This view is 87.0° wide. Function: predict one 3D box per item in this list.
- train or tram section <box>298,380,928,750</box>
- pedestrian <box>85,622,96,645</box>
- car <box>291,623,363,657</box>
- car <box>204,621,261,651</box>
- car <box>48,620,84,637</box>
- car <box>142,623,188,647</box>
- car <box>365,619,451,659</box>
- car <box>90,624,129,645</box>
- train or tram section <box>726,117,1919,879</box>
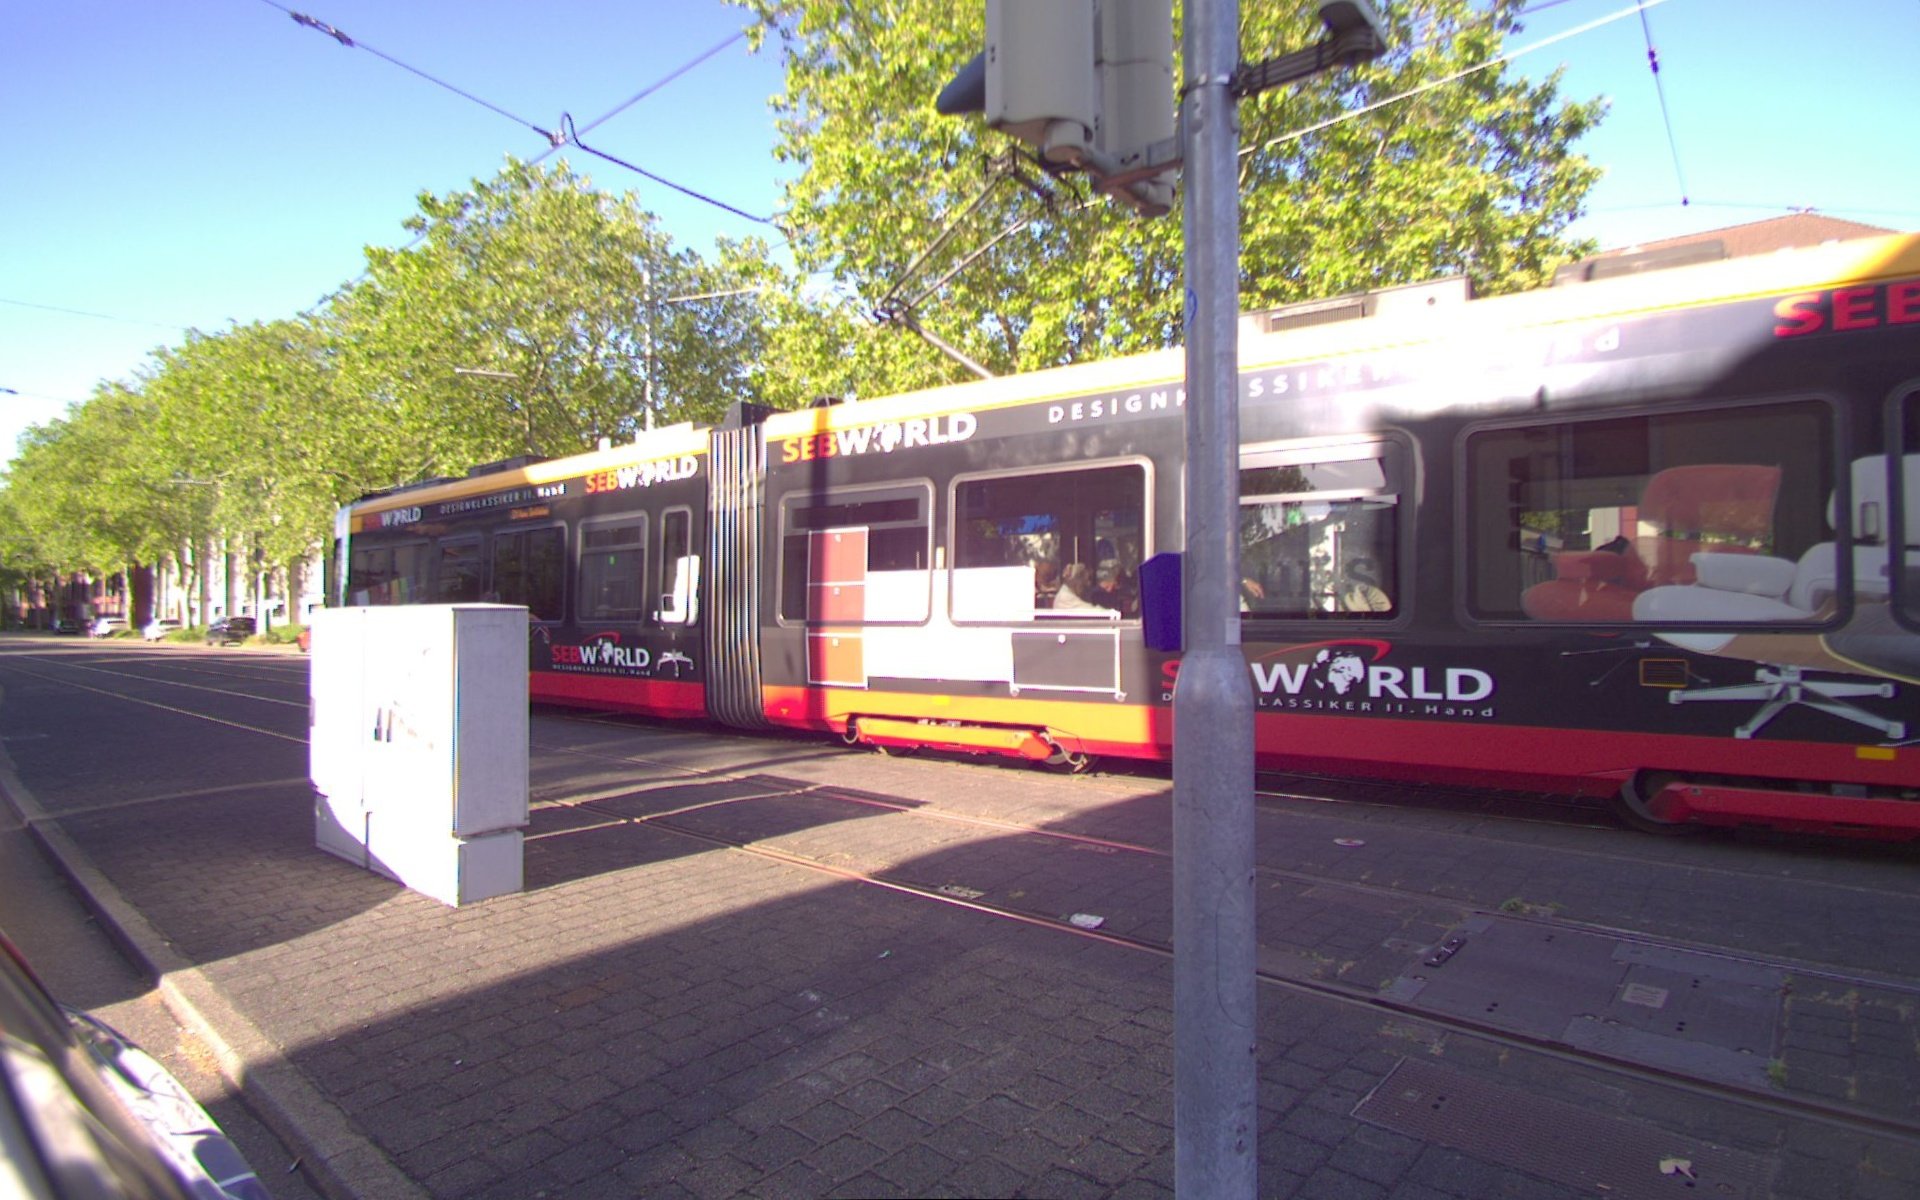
[{"bbox_3d":[-6.219,-0.228,15.343,12.882,3.640,3.023,-1,-2,41],"label":"train or tram section"},{"bbox_3d":[-63.894,2.453,74.362,0.677,1.654,0.570,-1,-2,43],"label":"pedestrian"},{"bbox_3d":[-28.946,1.798,46.240,4.000,1.497,1.857,-1,-2,43],"label":"car"},{"bbox_3d":[-40.691,1.981,56.574,4.000,1.588,1.857,-1,-2,43],"label":"car"},{"bbox_3d":[-85.156,2.729,96.393,3.995,1.563,1.859,-1,-1,38],"label":"car"},{"bbox_3d":[-53.724,2.326,68.369,4.000,1.563,1.857,-1,-2,43],"label":"car"},{"bbox_3d":[-21.905,1.530,40.107,4.000,1.497,1.857,-1,-2,43],"label":"car"},{"bbox_3d":[-66.896,2.682,79.566,4.000,1.563,1.857,-1,-2,43],"label":"car"},{"bbox_3d":[3.394,-0.435,7.586,11.926,3.640,3.028,-1,-1,36],"label":"train or tram section"}]
